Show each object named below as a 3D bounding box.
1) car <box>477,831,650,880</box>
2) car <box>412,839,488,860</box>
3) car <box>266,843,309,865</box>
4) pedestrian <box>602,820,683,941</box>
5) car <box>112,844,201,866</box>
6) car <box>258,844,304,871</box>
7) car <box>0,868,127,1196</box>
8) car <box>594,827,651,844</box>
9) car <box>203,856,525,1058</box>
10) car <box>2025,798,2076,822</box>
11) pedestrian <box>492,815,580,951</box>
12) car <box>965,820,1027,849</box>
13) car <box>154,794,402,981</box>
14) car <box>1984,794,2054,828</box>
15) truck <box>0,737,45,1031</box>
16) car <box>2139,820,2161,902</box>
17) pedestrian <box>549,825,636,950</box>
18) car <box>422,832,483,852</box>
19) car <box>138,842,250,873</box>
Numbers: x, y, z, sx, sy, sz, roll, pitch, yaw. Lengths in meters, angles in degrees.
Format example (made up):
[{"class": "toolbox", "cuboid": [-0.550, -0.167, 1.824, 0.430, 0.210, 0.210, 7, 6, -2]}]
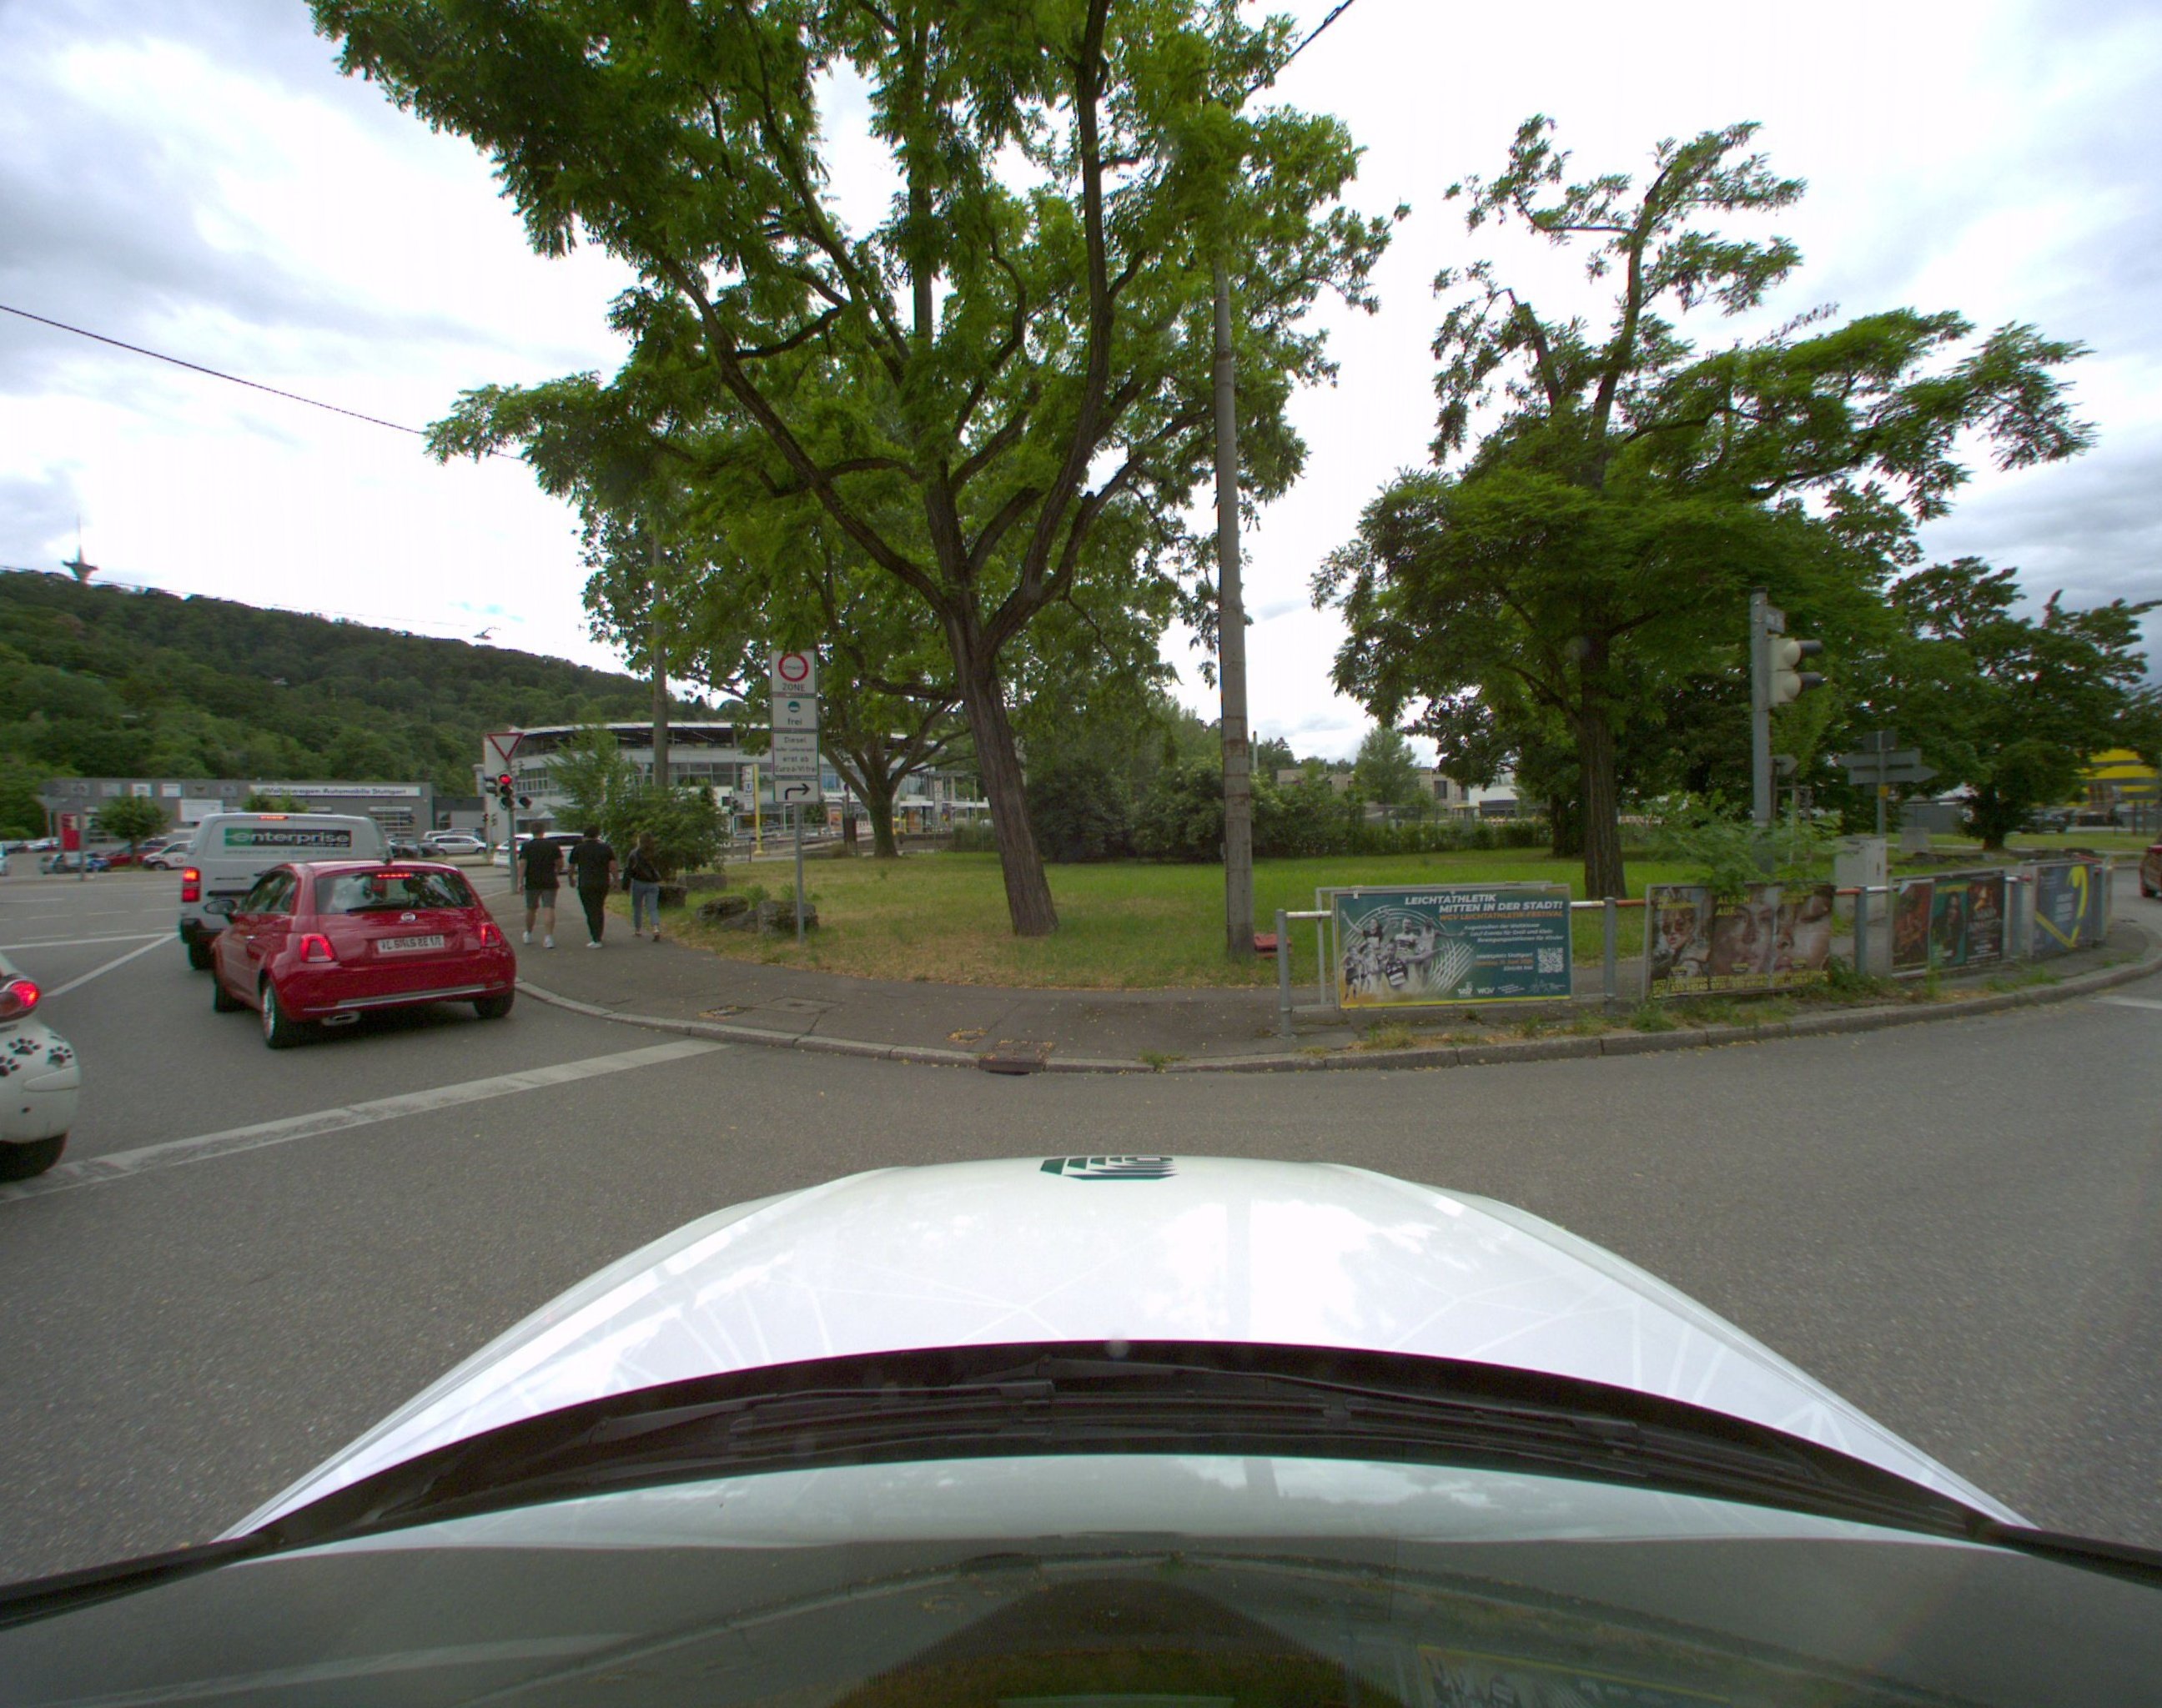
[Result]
[{"class": "car", "cuboid": [-18.485, -0.024, 29.337, 1.781, 1.507, 4.929, 1, 3, 34]}, {"class": "car", "cuboid": [-52.205, -0.412, 67.452, 4.836, 1.533, 1.755, -3, 2, -39]}, {"class": "car", "cuboid": [-57.877, -0.041, 59.469, 1.784, 1.533, 4.044, -3, 2, -38]}, {"class": "pedestrian", "cuboid": [-6.572, 0.381, 12.228, 0.778, 1.739, 0.700, -1, 2, 30]}, {"class": "car", "cuboid": [-70.360, 0.061, 62.075, 4.110, 1.533, 1.756, -3, 2, -37]}, {"class": "car", "cuboid": [-58.167, 0.194, 59.253, 2.010, 1.815, 3.954, -3, 3, -40]}, {"class": "car", "cuboid": [-6.560, 0.847, 3.666, 3.393, 1.432, 1.652, -1, 2, 17]}, {"class": "car", "cuboid": [-41.883, -1.690, 74.430, 4.182, 1.491, 1.799, -1, 2, 4]}, {"class": "car", "cuboid": [-6.898, 0.770, 7.748, 3.386, 1.456, 1.655, 0, 1, 38]}, {"class": "car", "cuboid": [84.040, -3.833, 70.578, 4.229, 2.013, 1.953, -2, 3, -28]}, {"class": "pedestrian", "cuboid": [-7.773, 0.391, 11.628, 0.778, 1.857, 0.700, -1, 2, 30]}, {"class": "car", "cuboid": [-6.139, -1.460, 59.571, 1.948, 2.013, 5.333, 0, 2, 26]}, {"class": "car", "cuboid": [-11.116, 0.310, 11.654, 2.006, 2.106, 4.706, -3, 3, -39]}, {"class": "car", "cuboid": [59.030, -2.712, 51.238, 4.229, 2.013, 1.953, -2, 3, -28]}, {"class": "truck", "cuboid": [-11.850, 0.296, 7.510, 5.951, 2.397, 2.446, 0, 2, 35]}, {"class": "car", "cuboid": [21.370, 0.070, 15.353, 3.853, 1.465, 1.714, -2, 1, -37]}, {"class": "pedestrian", "cuboid": [-6.979, 0.454, 11.648, 0.778, 1.714, 0.700, -1, 2, 30]}, {"class": "car", "cuboid": [-64.224, -1.239, 83.291, 4.836, 1.802, 1.755, -3, 2, -39]}, {"class": "car", "cuboid": [-59.153, 0.194, 54.462, 4.727, 1.903, 1.756, -3, 2, -36]}]
